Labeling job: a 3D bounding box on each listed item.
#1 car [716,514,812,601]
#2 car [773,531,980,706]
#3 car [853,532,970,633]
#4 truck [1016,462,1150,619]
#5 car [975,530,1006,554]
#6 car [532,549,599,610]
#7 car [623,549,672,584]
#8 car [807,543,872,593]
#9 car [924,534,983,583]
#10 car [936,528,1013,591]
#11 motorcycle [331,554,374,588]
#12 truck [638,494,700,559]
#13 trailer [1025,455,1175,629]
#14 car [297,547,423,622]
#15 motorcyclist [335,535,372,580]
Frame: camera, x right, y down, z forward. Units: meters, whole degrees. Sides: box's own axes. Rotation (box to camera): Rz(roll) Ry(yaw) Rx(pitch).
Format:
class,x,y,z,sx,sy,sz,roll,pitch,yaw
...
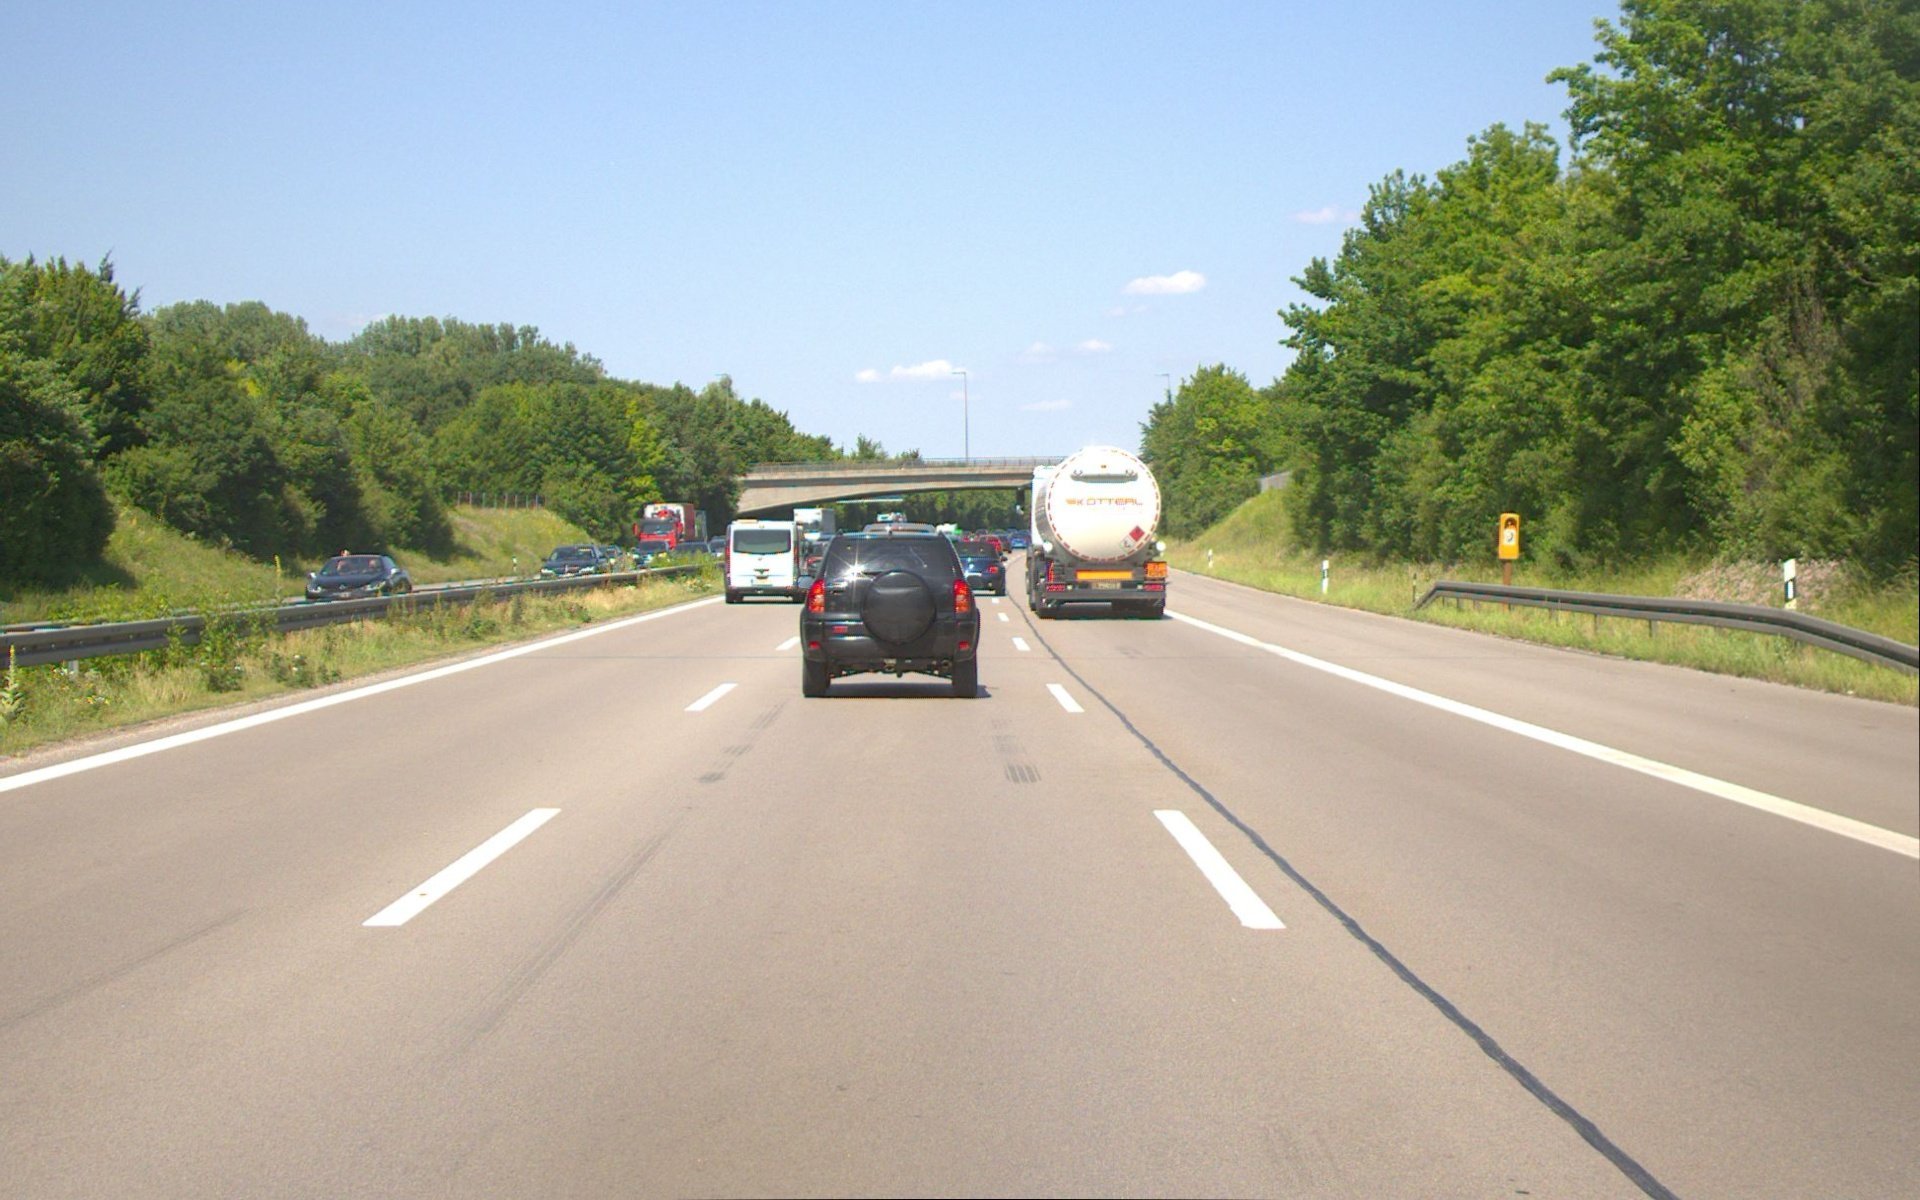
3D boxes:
class,x,y,z,sx,sy,sz,roll,pitch,yaw
car,-4.817,-1.062,85.116,1.993,2.007,4.950,-2,1,1
car,-0.796,0.146,35.254,1.906,1.659,4.000,-1,1,1
car,-0.853,-0.342,62.226,1.993,1.700,4.336,-2,1,0
truck,2.709,-1.347,77.356,2.638,3.363,6.488,0,1,-1
car,2.054,-3.910,231.091,1.993,1.568,4.000,-2,1,-1
car,-12.970,-0.693,113.224,1.690,1.875,5.019,-2,1,-1
car,-15.628,-1.680,171.926,1.993,1.624,4.575,-1,1,0
car,-3.878,-1.011,111.033,1.993,1.547,4.000,-1,0,-1
car,-0.227,-1.571,128.177,1.994,1.744,4.205,-1,1,2
car,0.413,-1.121,95.560,1.993,1.678,4.000,-1,0,2
motorcycle,-19.588,-0.941,110.924,0.935,1.014,2.655,-1,1,-1
truck,-17.886,-4.546,211.782,2.679,3.756,9.919,-2,1,1
trailer,2.832,-1.242,72.508,2.648,3.378,11.152,0,1,0
car,-12.899,-0.359,74.136,1.993,1.515,4.428,-2,1,-1
motorcyclist,-19.589,-1.372,110.988,0.940,1.438,1.357,-1,1,-1
